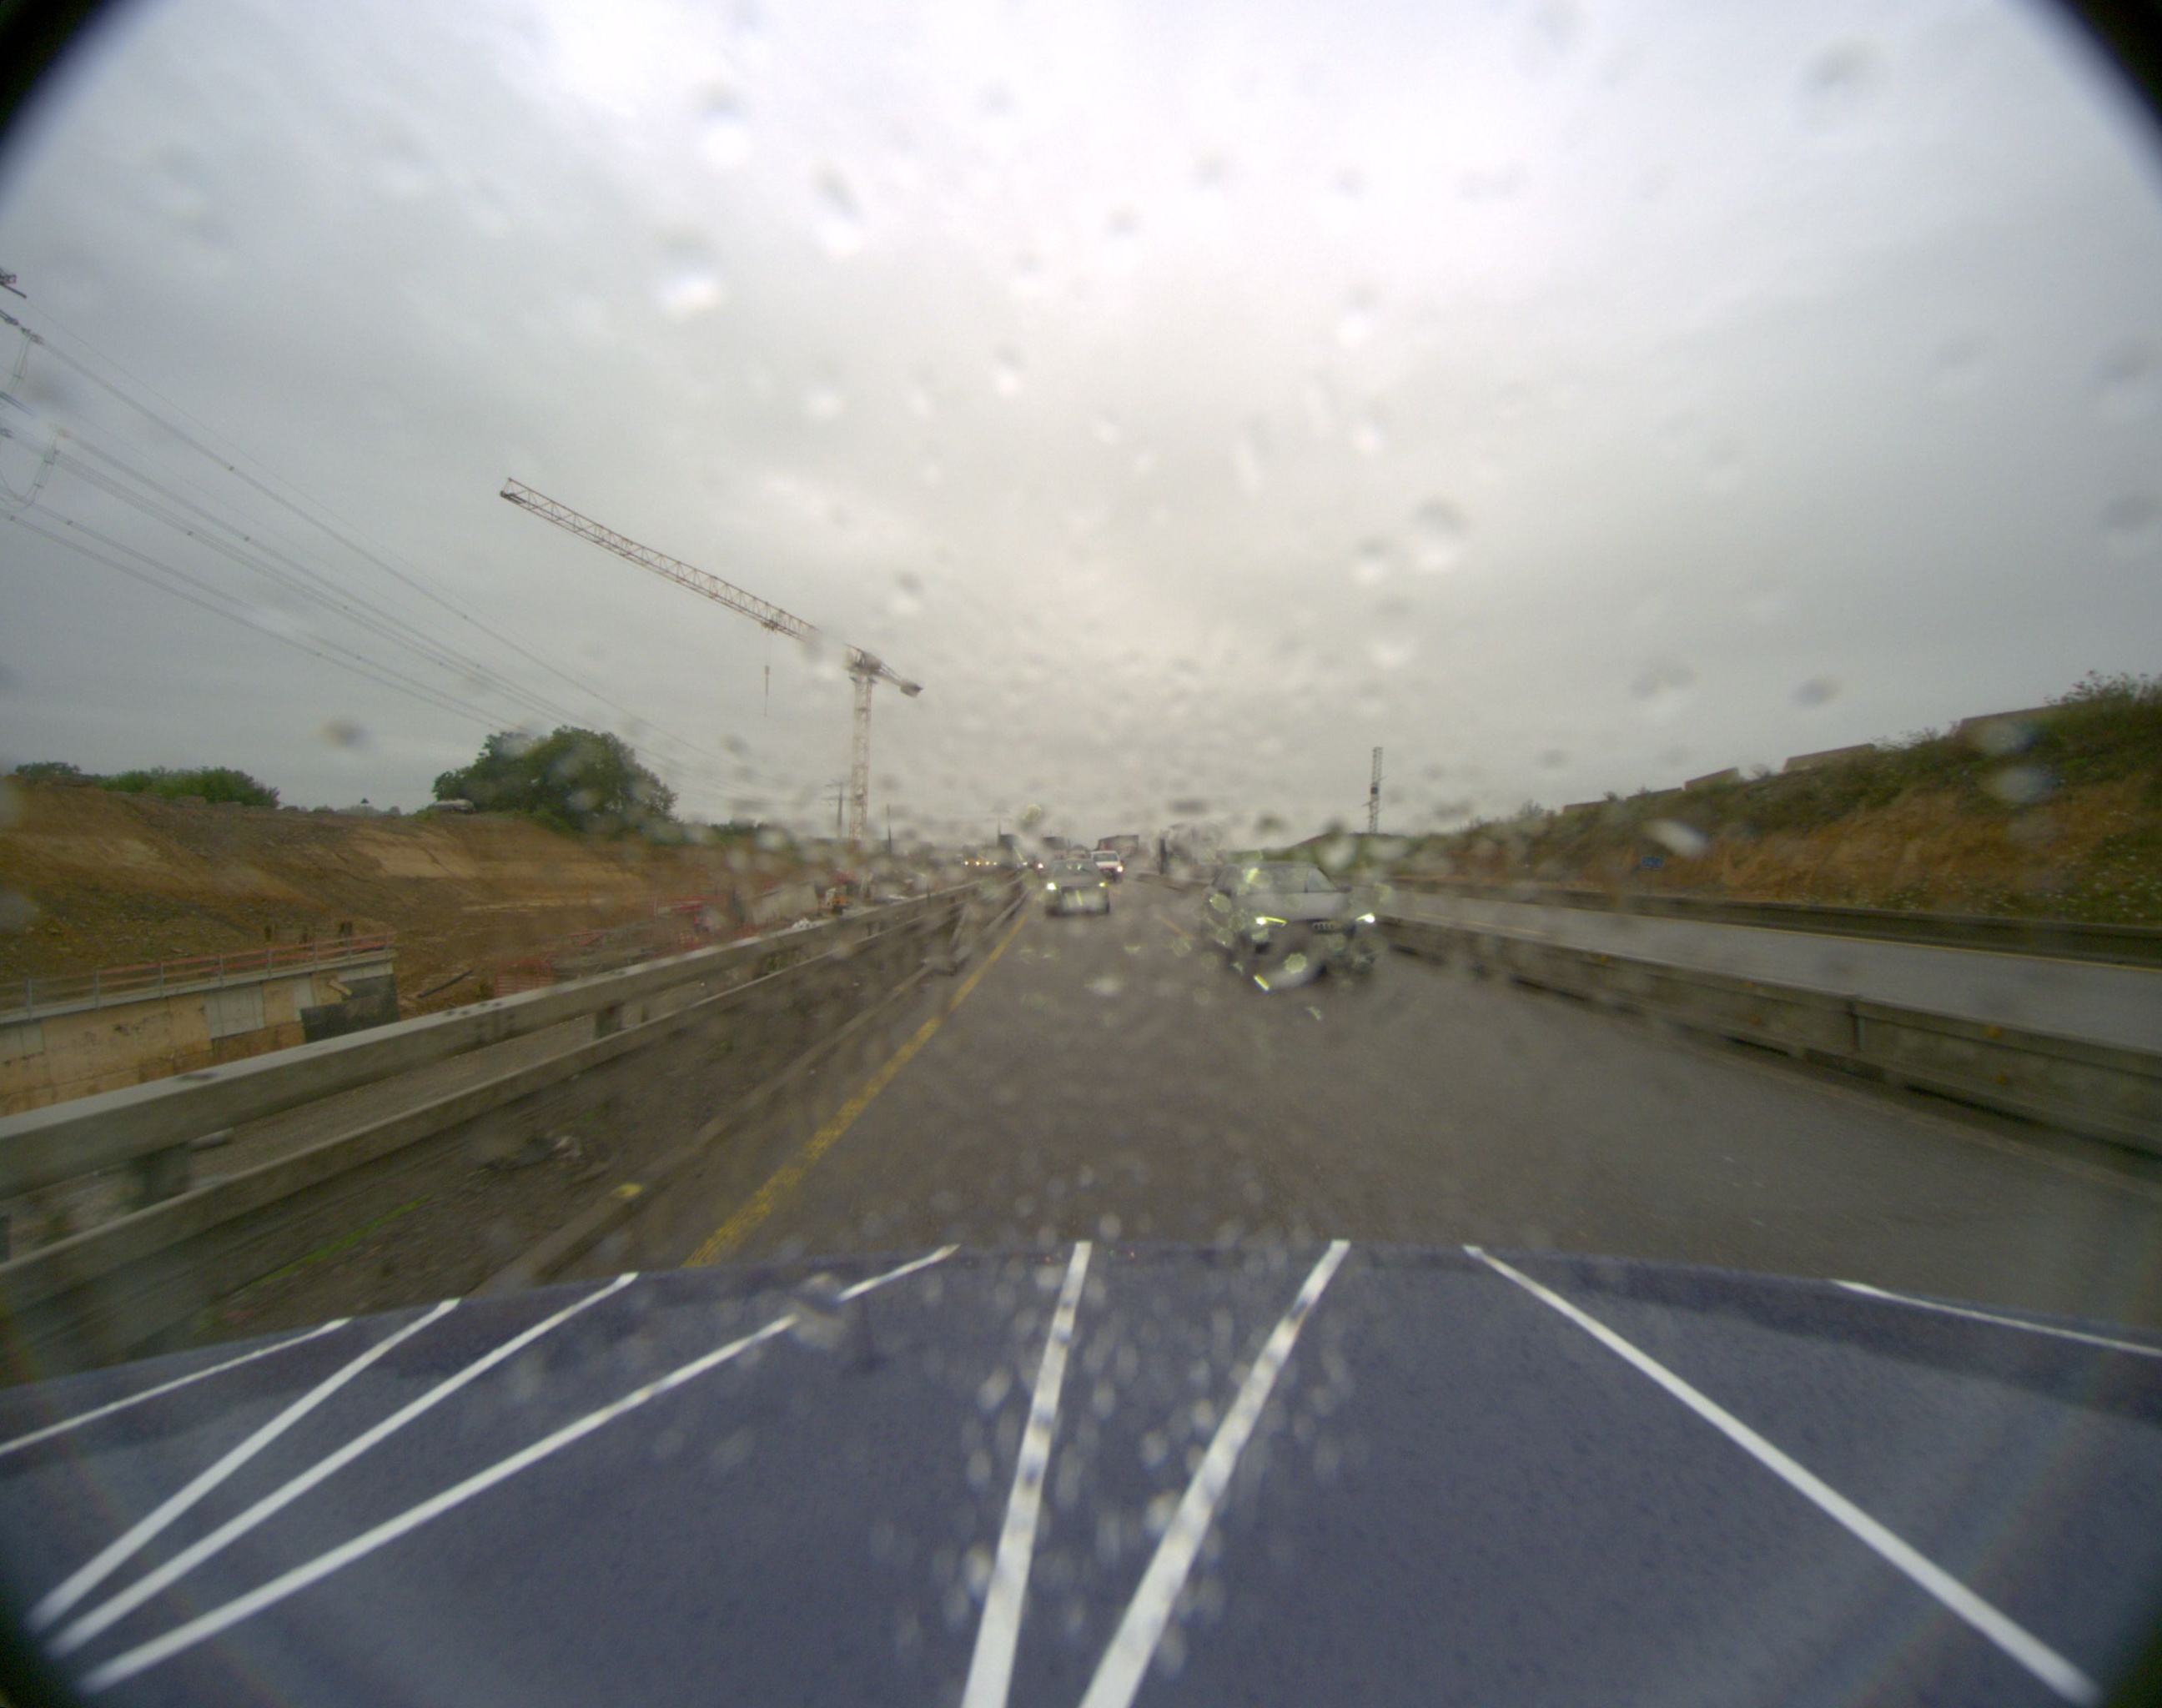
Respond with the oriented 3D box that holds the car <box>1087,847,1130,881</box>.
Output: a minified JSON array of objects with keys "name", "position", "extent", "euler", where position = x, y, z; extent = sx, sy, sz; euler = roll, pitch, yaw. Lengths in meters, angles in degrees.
[{"name":"car","position":[1.579,0.550,45.967],"extent":[2.070,1.933,5.154],"euler":[-1,1,-4]}]

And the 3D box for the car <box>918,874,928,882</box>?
[{"name":"car","position":[-35.624,5.460,171.576],"extent":[1.860,1.609,4.077],"euler":[0,1,-6]}]

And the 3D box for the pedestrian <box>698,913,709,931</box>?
[{"name":"pedestrian","position":[-37.438,6.743,75.351],"extent":[0.488,1.794,0.583],"euler":[-5,2,35]}]

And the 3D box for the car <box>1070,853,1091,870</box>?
[{"name":"car","position":[-0.105,0.777,81.483],"extent":[1.790,1.744,3.998],"euler":[-2,0,-5]}]

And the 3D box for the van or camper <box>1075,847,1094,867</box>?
[{"name":"van or camper","position":[0.445,0.326,105.243],"extent":[2.284,2.599,5.827],"euler":[-2,0,-1]}]

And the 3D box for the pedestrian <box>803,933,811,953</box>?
[{"name":"pedestrian","position":[-25.328,8.243,70.236],"extent":[0.603,1.759,0.481],"euler":[3,1,-5]}]

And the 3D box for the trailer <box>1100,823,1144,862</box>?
[{"name":"trailer","position":[4.800,-1.224,93.511],"extent":[3.004,4.395,15.694],"euler":[0,0,-6]}]

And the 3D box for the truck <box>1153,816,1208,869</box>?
[{"name":"truck","position":[7.703,-0.895,59.691],"extent":[3.240,3.933,5.879],"euler":[-1,1,-3]}]

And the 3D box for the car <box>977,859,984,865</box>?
[{"name":"car","position":[-26.078,2.118,197.196],"extent":[1.790,1.418,3.998],"euler":[-2,0,-5]}]

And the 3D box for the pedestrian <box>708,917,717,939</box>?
[{"name":"pedestrian","position":[-37.230,7.487,76.818],"extent":[0.489,2.088,0.481],"euler":[-6,2,-5]}]

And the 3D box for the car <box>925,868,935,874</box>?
[{"name":"car","position":[-39.709,4.460,199.982],"extent":[2.352,1.609,4.856],"euler":[0,1,-6]}]

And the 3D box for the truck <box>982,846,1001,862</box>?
[{"name":"truck","position":[-22.490,0.058,190.321],"extent":[3.549,3.871,8.325],"euler":[-2,0,-14]}]

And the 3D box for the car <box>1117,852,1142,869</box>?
[{"name":"car","position":[4.332,0.570,68.935],"extent":[1.808,1.431,4.949],"euler":[0,1,-1]}]

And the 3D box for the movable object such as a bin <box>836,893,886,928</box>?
[{"name":"movable object such as a bin","position":[-25.730,6.538,89.291],"extent":[3.516,3.405,6.653],"euler":[-1,2,4]}]

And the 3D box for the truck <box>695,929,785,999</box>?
[{"name":"truck","position":[-24.577,7.810,55.352],"extent":[2.710,3.591,9.070],"euler":[0,1,-1]}]

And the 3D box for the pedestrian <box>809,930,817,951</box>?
[{"name":"pedestrian","position":[-25.411,8.211,71.997],"extent":[0.603,1.894,0.481],"euler":[1,1,-5]}]

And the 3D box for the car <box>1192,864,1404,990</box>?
[{"name":"car","position":[2.902,0.897,11.152],"extent":[1.805,1.375,4.086],"euler":[-1,1,-2]}]

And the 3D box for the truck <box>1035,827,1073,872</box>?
[{"name":"truck","position":[-2.377,-0.394,63.275],"extent":[2.857,3.462,8.640],"euler":[-1,1,-3]}]

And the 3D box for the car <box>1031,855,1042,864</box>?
[{"name":"car","position":[-8.424,0.961,144.353],"extent":[1.790,1.646,3.997],"euler":[-2,0,-7]}]

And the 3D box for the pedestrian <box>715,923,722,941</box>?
[{"name":"pedestrian","position":[-37.374,8.033,78.353],"extent":[0.489,1.750,0.481],"euler":[1,1,-5]}]

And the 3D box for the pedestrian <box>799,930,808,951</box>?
[{"name":"pedestrian","position":[-26.383,8.233,72.253],"extent":[0.603,1.894,0.481],"euler":[1,1,-5]}]

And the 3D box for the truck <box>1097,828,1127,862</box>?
[{"name":"truck","position":[4.021,-1.182,101.056],"extent":[2.989,4.383,6.927],"euler":[0,0,-6]}]

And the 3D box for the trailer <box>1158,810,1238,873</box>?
[{"name":"trailer","position":[8.041,-0.830,54.083],"extent":[3.264,3.941,11.531],"euler":[-1,1,-3]}]

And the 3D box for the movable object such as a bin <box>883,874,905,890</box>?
[{"name":"movable object such as a bin","position":[-37.505,5.556,152.782],"extent":[3.503,2.865,3.997],"euler":[5,0,-6]}]

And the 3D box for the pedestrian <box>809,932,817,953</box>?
[{"name":"pedestrian","position":[-25.213,8.321,71.403],"extent":[0.603,1.894,0.614],"euler":[0,1,-5]}]

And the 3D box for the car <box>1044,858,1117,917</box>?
[{"name":"car","position":[-0.112,0.901,22.160],"extent":[1.875,1.481,4.259],"euler":[-1,0,-3]}]
